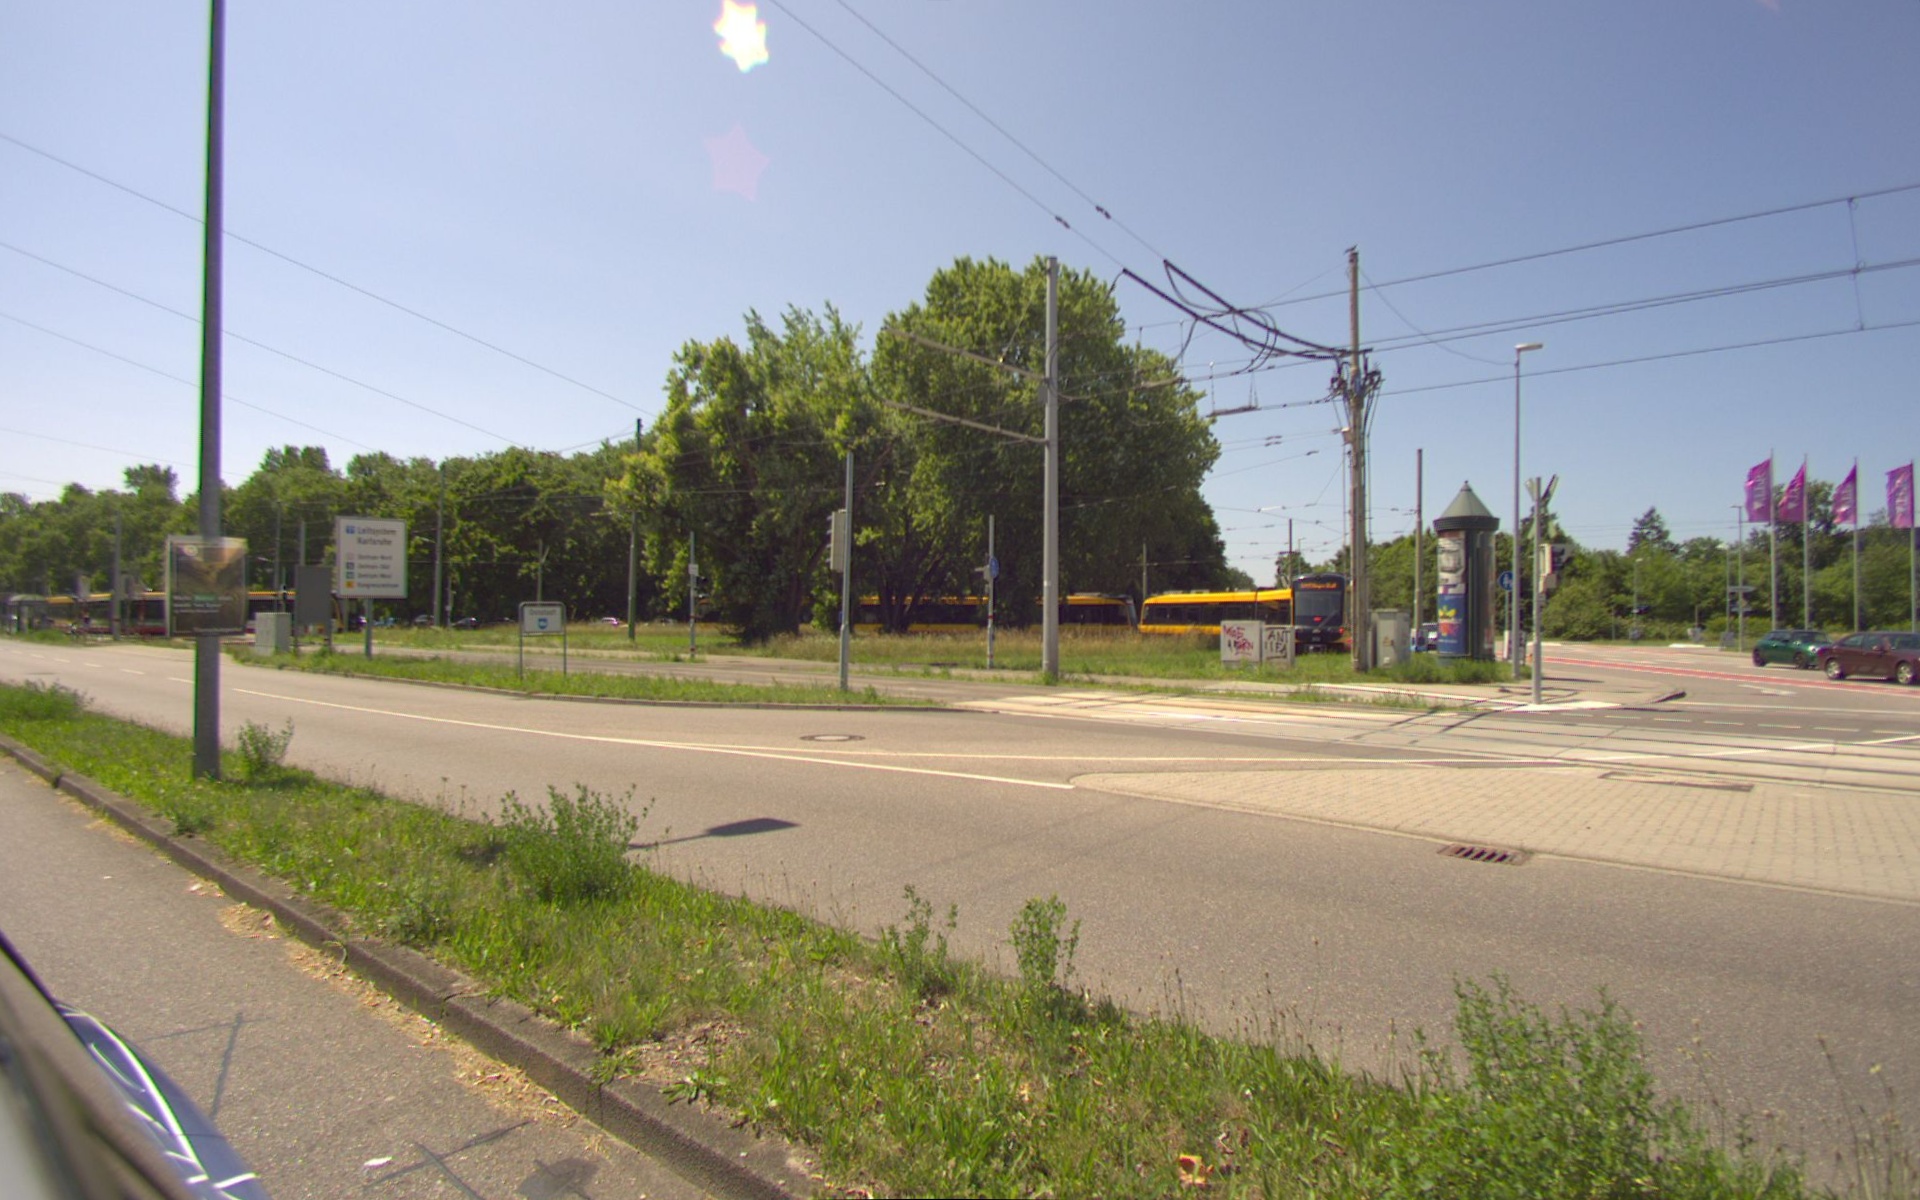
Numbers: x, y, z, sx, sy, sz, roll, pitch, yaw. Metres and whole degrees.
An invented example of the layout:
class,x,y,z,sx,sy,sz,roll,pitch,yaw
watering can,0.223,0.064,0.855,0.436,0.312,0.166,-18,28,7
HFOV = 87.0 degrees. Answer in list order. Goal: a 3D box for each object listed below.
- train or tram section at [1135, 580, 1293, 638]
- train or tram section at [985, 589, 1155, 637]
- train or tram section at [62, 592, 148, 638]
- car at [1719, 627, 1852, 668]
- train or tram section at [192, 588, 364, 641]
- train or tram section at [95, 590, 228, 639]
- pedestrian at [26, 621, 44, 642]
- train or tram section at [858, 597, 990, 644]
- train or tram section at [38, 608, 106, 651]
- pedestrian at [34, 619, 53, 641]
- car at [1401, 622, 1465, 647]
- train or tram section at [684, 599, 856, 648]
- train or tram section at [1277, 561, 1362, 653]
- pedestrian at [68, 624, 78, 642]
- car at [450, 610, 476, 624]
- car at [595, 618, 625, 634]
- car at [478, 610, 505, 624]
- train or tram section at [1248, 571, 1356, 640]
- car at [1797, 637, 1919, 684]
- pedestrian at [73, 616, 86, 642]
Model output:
class,x,y,z,sx,sy,sz,roll,pitch,yaw
train or tram section,16.613,0.567,67.793,2.993,3.492,12.792,-1,0,-24
train or tram section,8.276,1.034,77.395,12.692,3.492,3.017,-1,0,29
train or tram section,-73.452,1.303,86.750,13.880,3.652,3.014,-1,0,39
car,30.475,1.730,37.537,1.877,1.382,4.219,-1,-1,9
train or tram section,-50.915,1.077,75.559,12.327,3.652,3.041,-1,0,13
train or tram section,-62.948,1.208,79.693,12.381,3.652,3.028,-1,0,25
pedestrian,-67.740,2.275,74.105,0.878,1.519,0.826,-1,0,38
train or tram section,-2.817,1.621,80.938,10.108,3.492,3.038,-1,0,9
train or tram section,-83.918,2.703,95.478,13.253,3.795,3.012,-1,0,41
pedestrian,-68.457,2.233,75.602,0.984,1.558,0.921,-1,0,38
car,27.889,1.994,59.817,1.873,1.382,4.228,-1,-1,2
train or tram section,-14.931,1.775,79.980,13.051,3.492,3.053,-1,0,-10
train or tram section,16.150,0.269,44.985,3.025,3.492,13.197,-1,0,21
pedestrian,-55.888,2.080,63.758,0.377,1.066,0.379,-1,0,39
car,-62.183,2.141,126.560,3.057,1.608,1.376,-1,0,27
car,-37.461,2.778,108.331,3.057,1.608,1.376,-1,0,27
car,-57.205,2.041,123.553,3.057,1.608,1.376,-1,0,27
train or tram section,18.931,0.282,56.797,3.006,3.492,10.214,-1,0,3
car,26.260,1.661,27.923,1.872,1.140,5.240,-1,-1,-1
pedestrian,-55.322,1.825,63.578,0.582,1.577,0.529,-1,0,39
